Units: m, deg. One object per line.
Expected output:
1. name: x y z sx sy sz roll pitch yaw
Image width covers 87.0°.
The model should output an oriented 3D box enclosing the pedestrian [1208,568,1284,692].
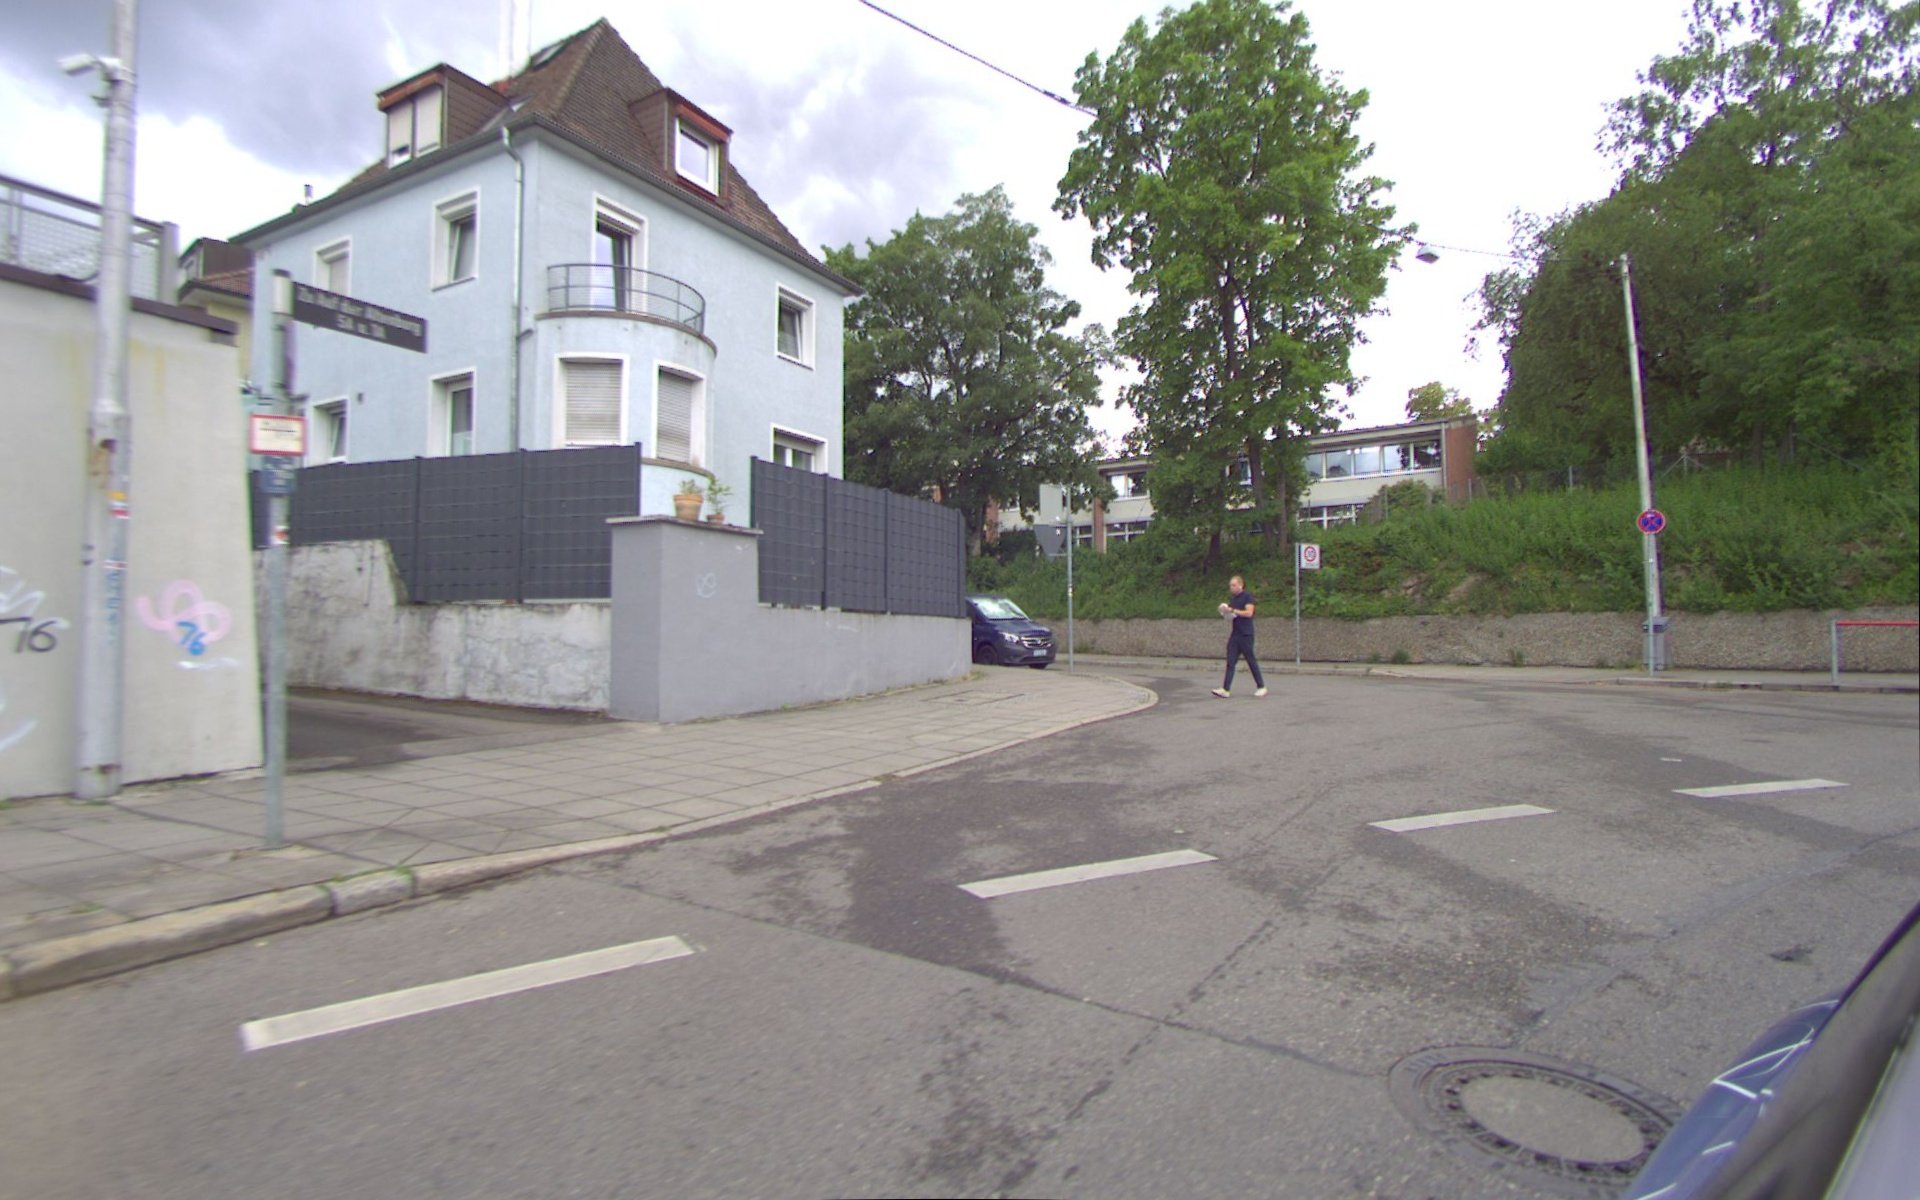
1. pedestrian: 4.371 0.461 15.484 0.963 1.852 0.576 1 -1 -15

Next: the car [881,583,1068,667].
1. car: 0.265 0.632 25.278 1.917 1.888 4.830 2 -3 -42
